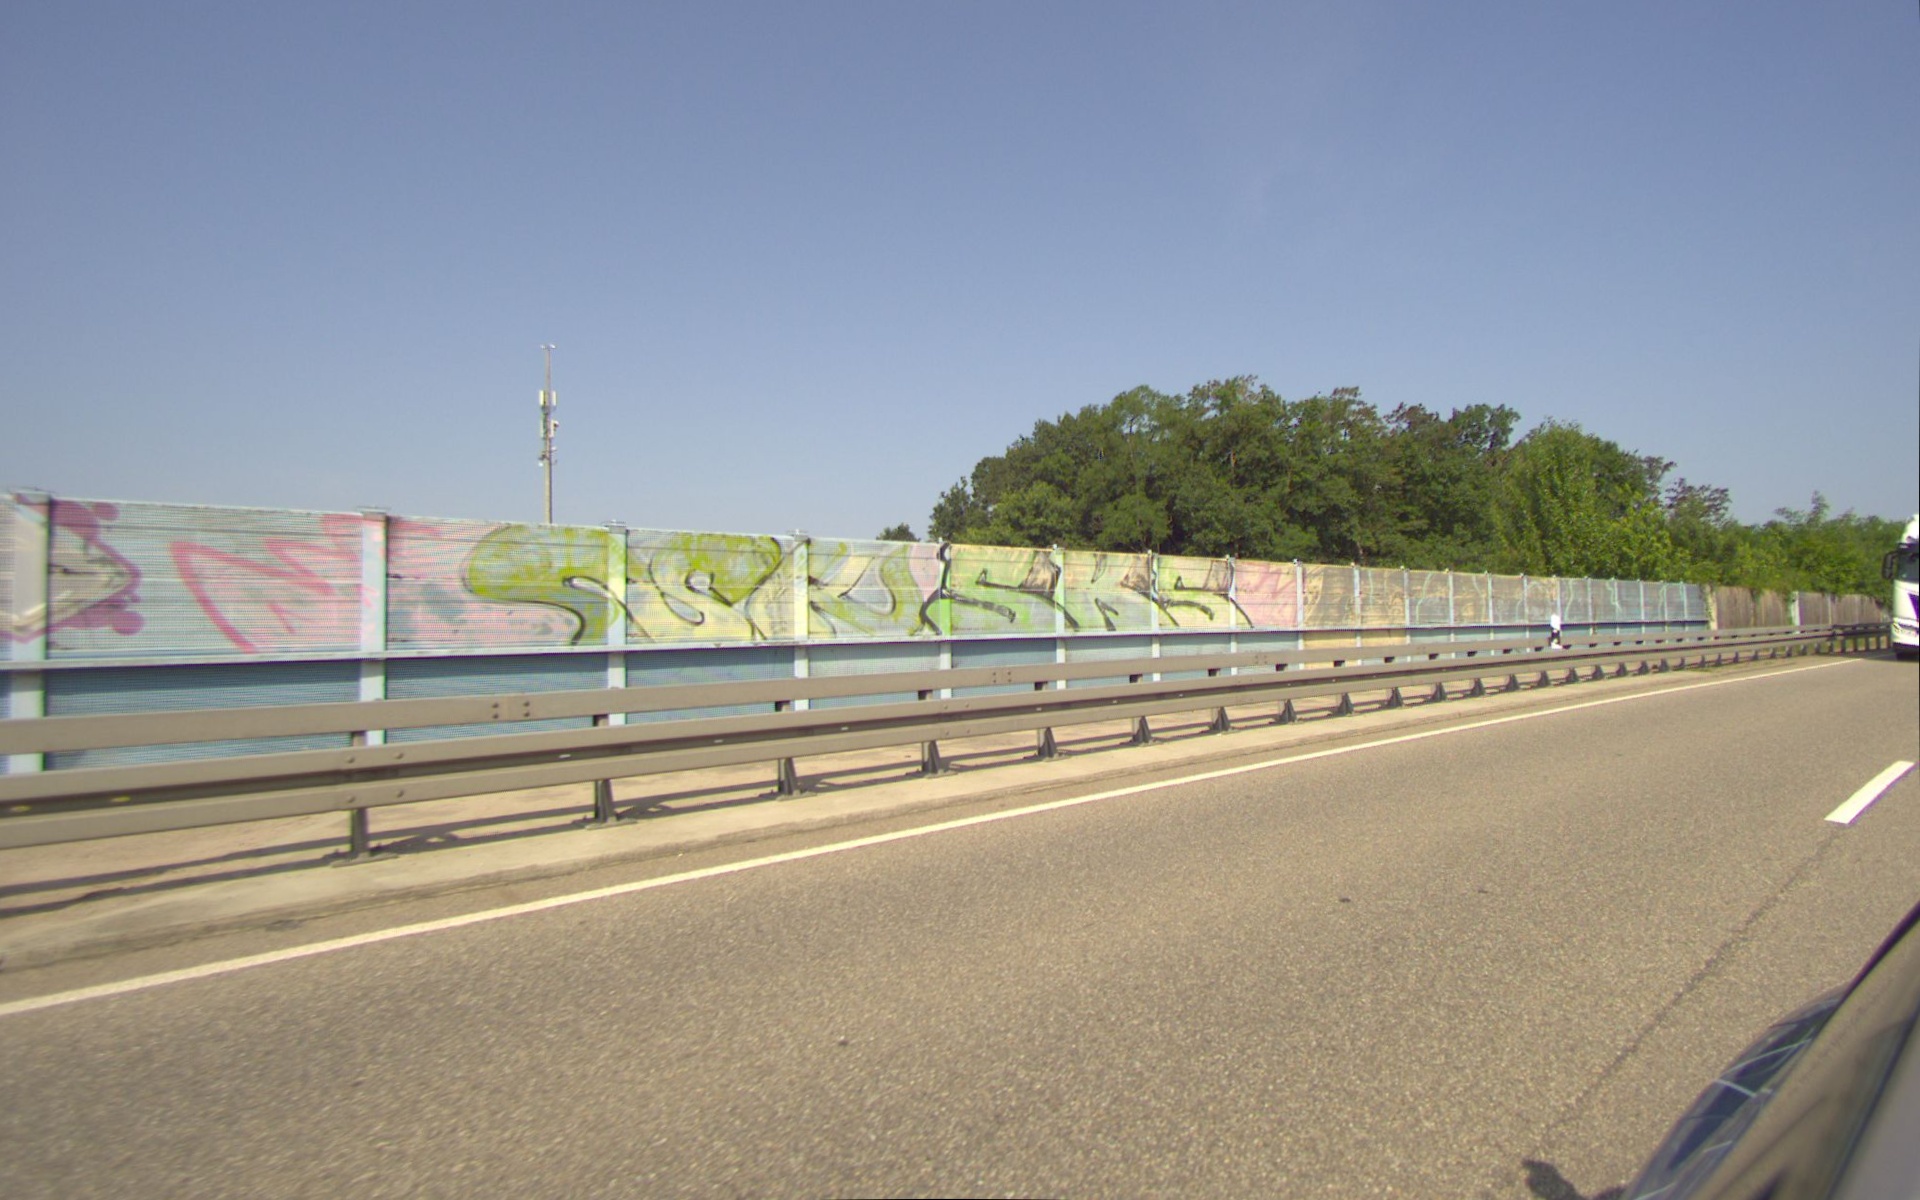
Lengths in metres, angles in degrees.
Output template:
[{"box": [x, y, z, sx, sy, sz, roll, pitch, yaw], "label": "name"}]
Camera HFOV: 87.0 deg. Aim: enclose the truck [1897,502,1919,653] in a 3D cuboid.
[{"box": [27.734, -0.569, 27.398, 5.545, 3.945, 2.665, 0, 0, -39], "label": "truck"}]
